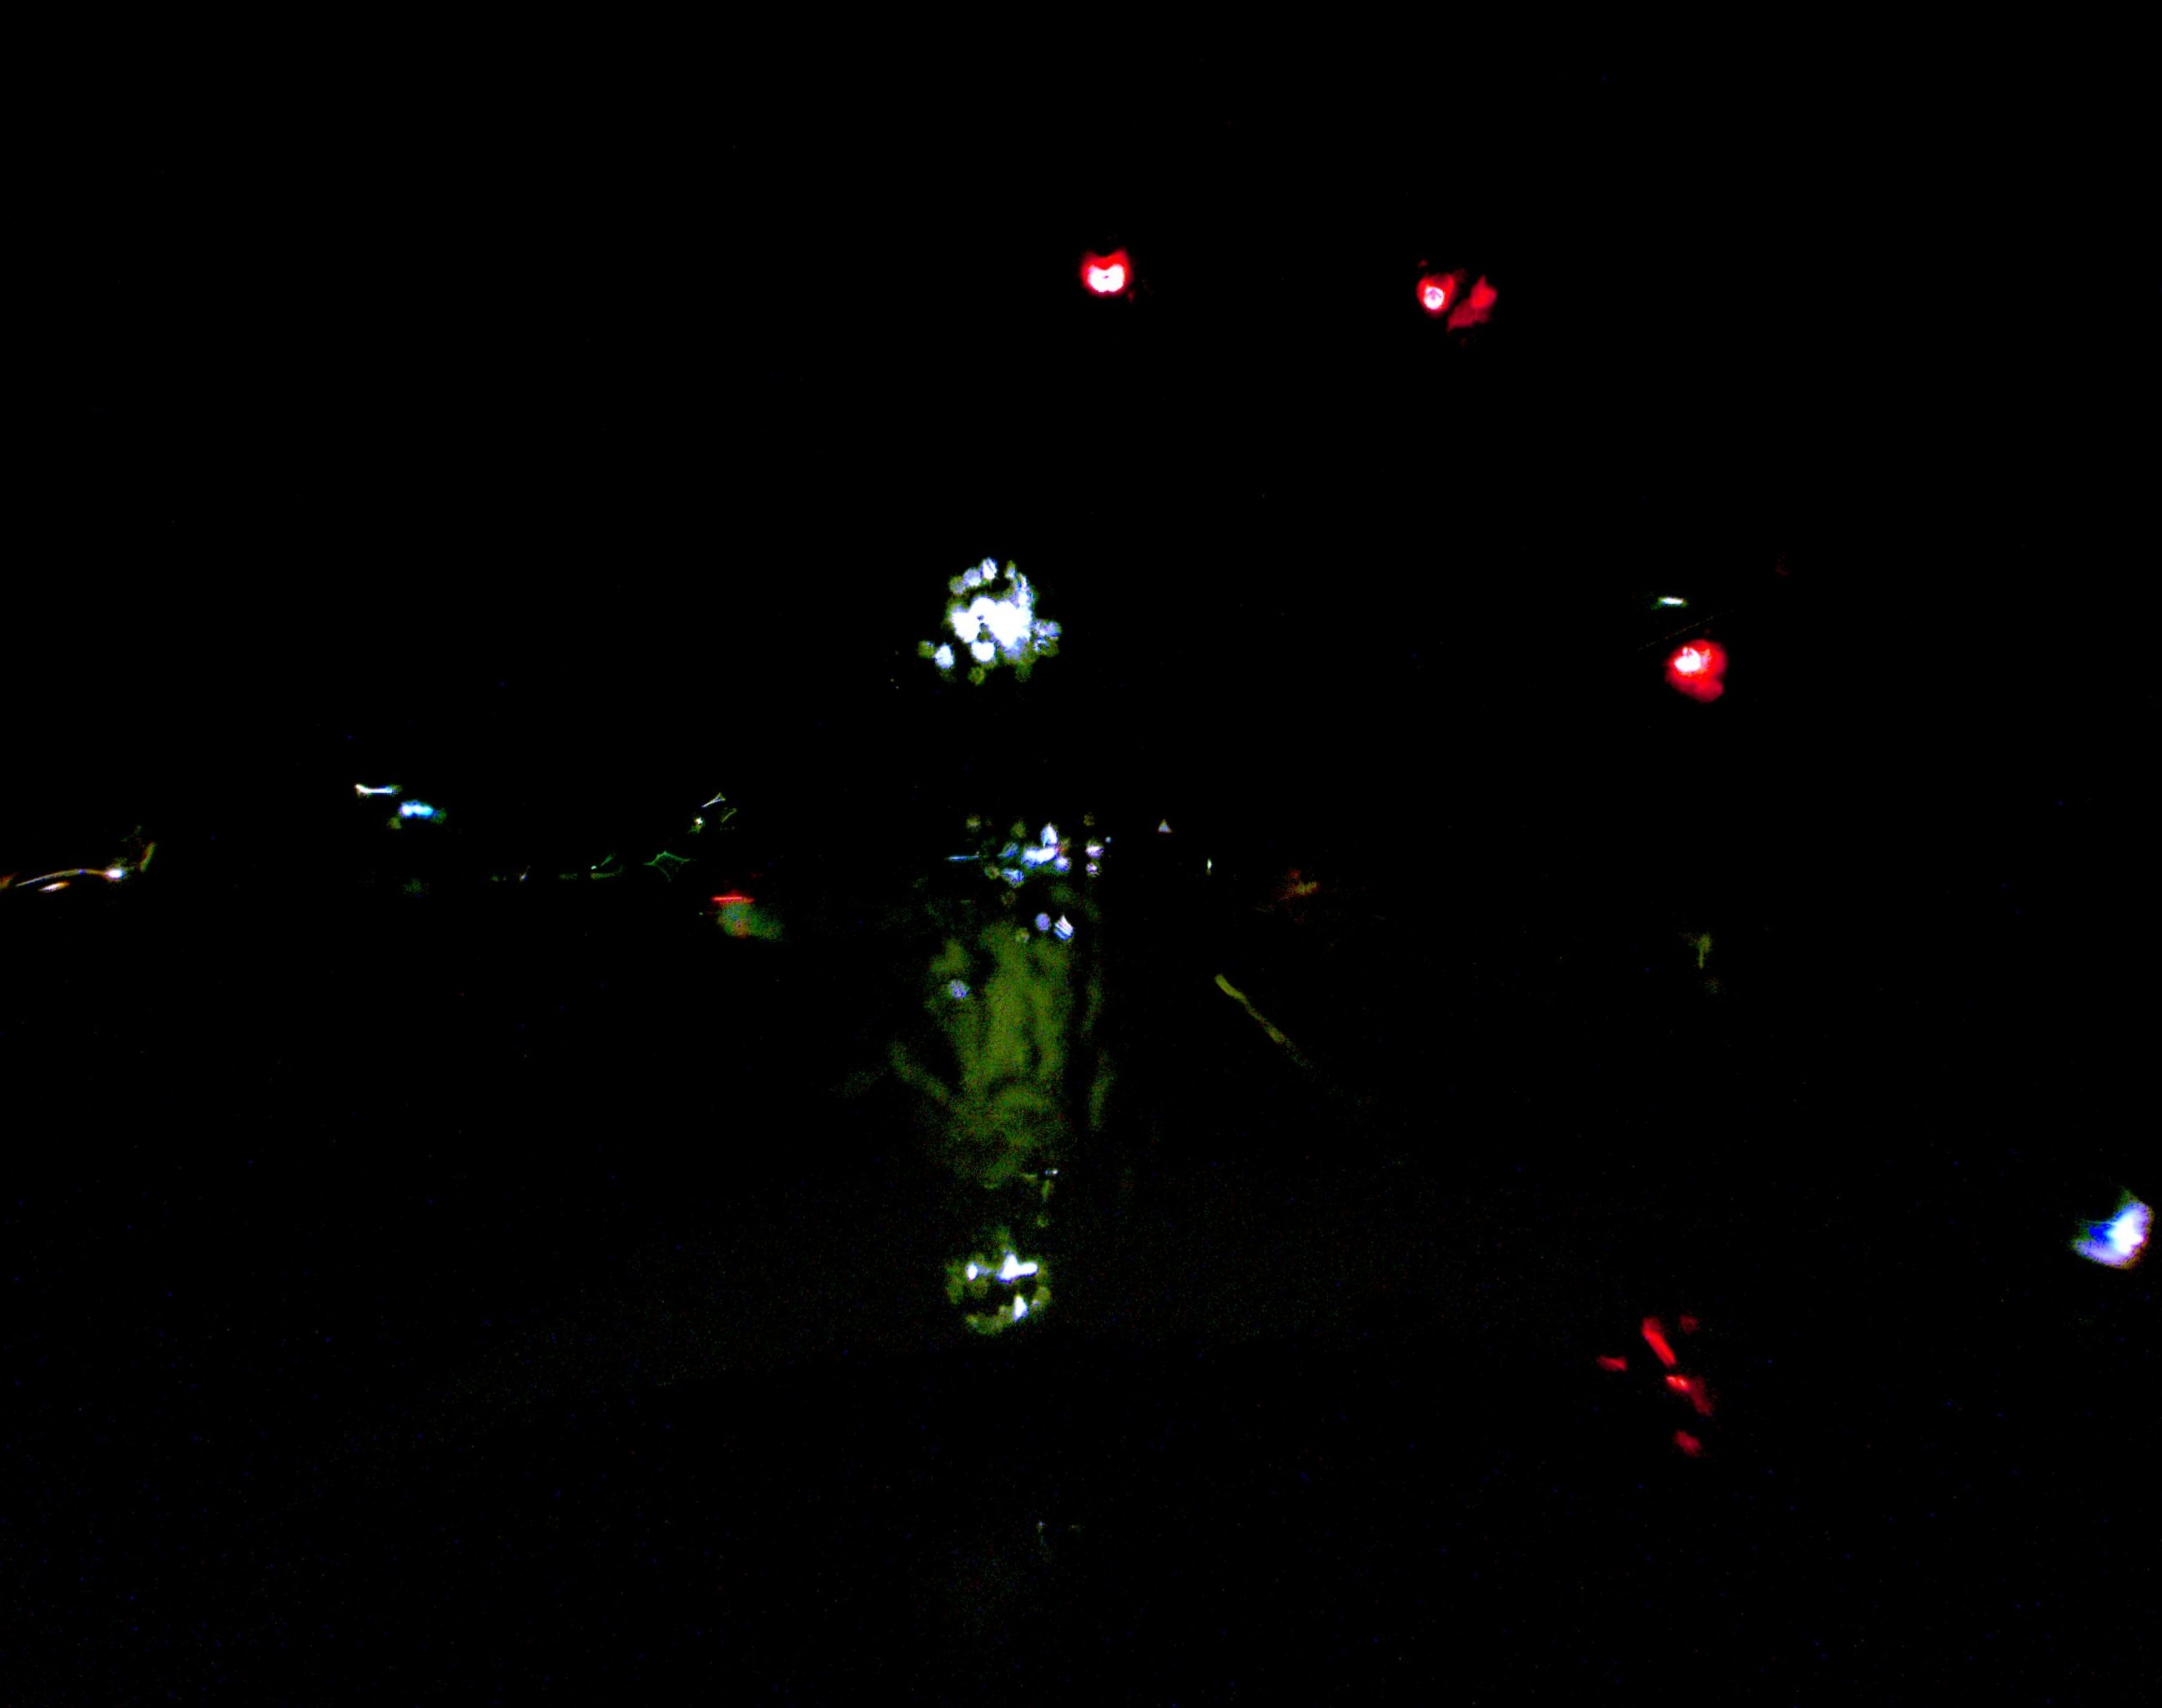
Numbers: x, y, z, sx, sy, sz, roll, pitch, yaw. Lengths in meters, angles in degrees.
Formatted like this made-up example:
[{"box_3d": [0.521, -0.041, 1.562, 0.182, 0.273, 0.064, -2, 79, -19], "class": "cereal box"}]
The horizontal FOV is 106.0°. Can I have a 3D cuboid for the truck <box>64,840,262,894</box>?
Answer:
[{"box_3d": [-41.736, 0.570, 37.345, 1.985, 2.271, 6.027, 0, 0, 4], "class": "truck"}]

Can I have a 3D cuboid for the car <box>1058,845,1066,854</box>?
[{"box_3d": [-4.415, -1.099, 187.578, 1.786, 2.022, 4.579, -1, 0, 0], "class": "car"}]

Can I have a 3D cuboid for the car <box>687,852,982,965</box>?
[{"box_3d": [-3.913, 0.759, 13.400, 4.395, 1.518, 1.499, -1, 0, -38], "class": "car"}]
